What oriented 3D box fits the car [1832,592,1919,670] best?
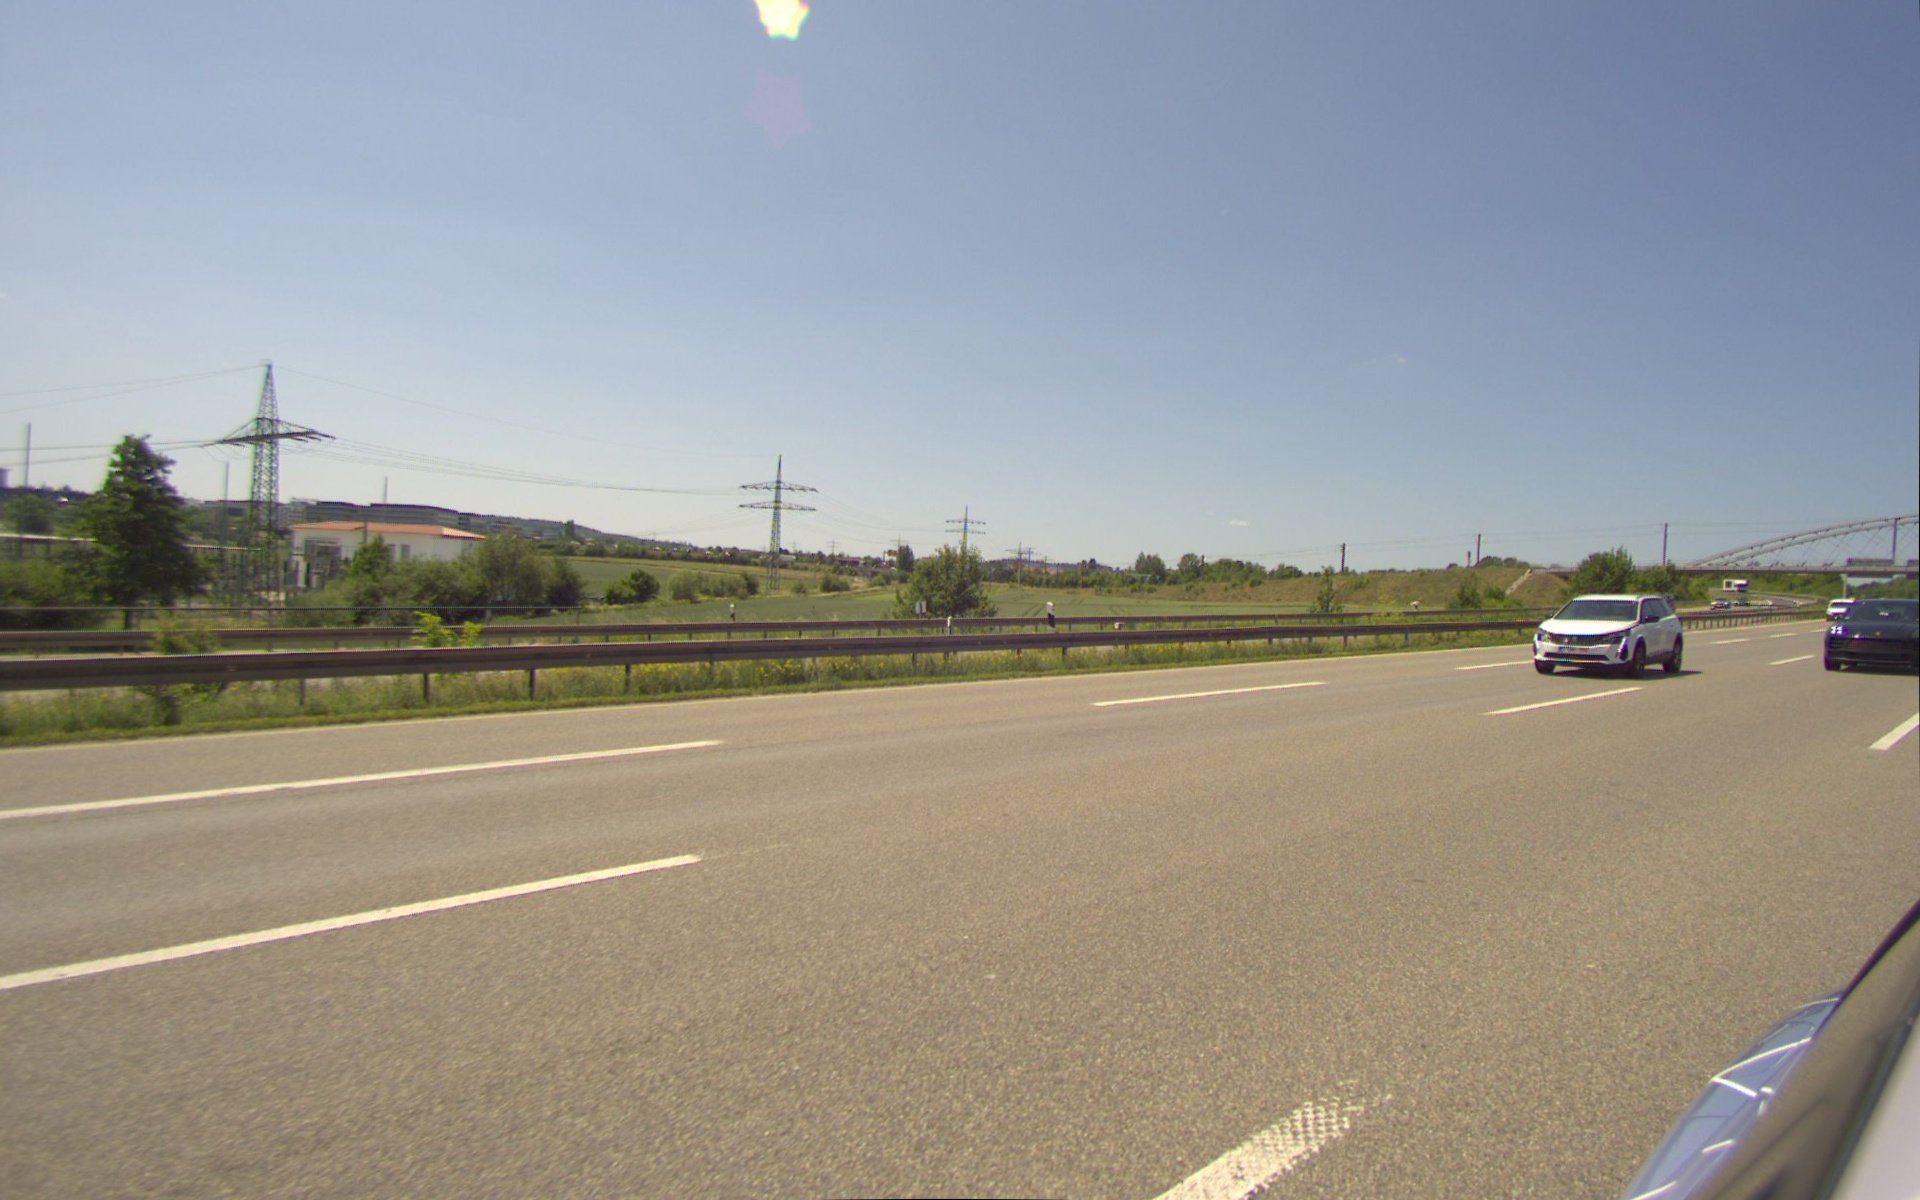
[{"bbox_3d":[21.059,0.629,22.575,4.061,1.615,1.929,0,1,-42],"label":"car"}]

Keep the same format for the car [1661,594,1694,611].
[{"bbox_3d":[67.708,0.235,95.530,4.057,1.594,1.702,0,1,-42],"label":"car"}]

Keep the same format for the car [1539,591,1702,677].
[{"bbox_3d":[13.815,0.615,21.052,4.540,1.611,1.746,0,1,-42],"label":"car"}]

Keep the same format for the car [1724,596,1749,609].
[{"bbox_3d":[96.466,0.329,125.747,4.056,1.594,1.702,0,1,-41],"label":"car"}]

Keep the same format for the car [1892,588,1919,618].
[{"bbox_3d":[63.958,0.174,67.865,4.222,1.943,1.806,0,1,-43],"label":"car"}]
